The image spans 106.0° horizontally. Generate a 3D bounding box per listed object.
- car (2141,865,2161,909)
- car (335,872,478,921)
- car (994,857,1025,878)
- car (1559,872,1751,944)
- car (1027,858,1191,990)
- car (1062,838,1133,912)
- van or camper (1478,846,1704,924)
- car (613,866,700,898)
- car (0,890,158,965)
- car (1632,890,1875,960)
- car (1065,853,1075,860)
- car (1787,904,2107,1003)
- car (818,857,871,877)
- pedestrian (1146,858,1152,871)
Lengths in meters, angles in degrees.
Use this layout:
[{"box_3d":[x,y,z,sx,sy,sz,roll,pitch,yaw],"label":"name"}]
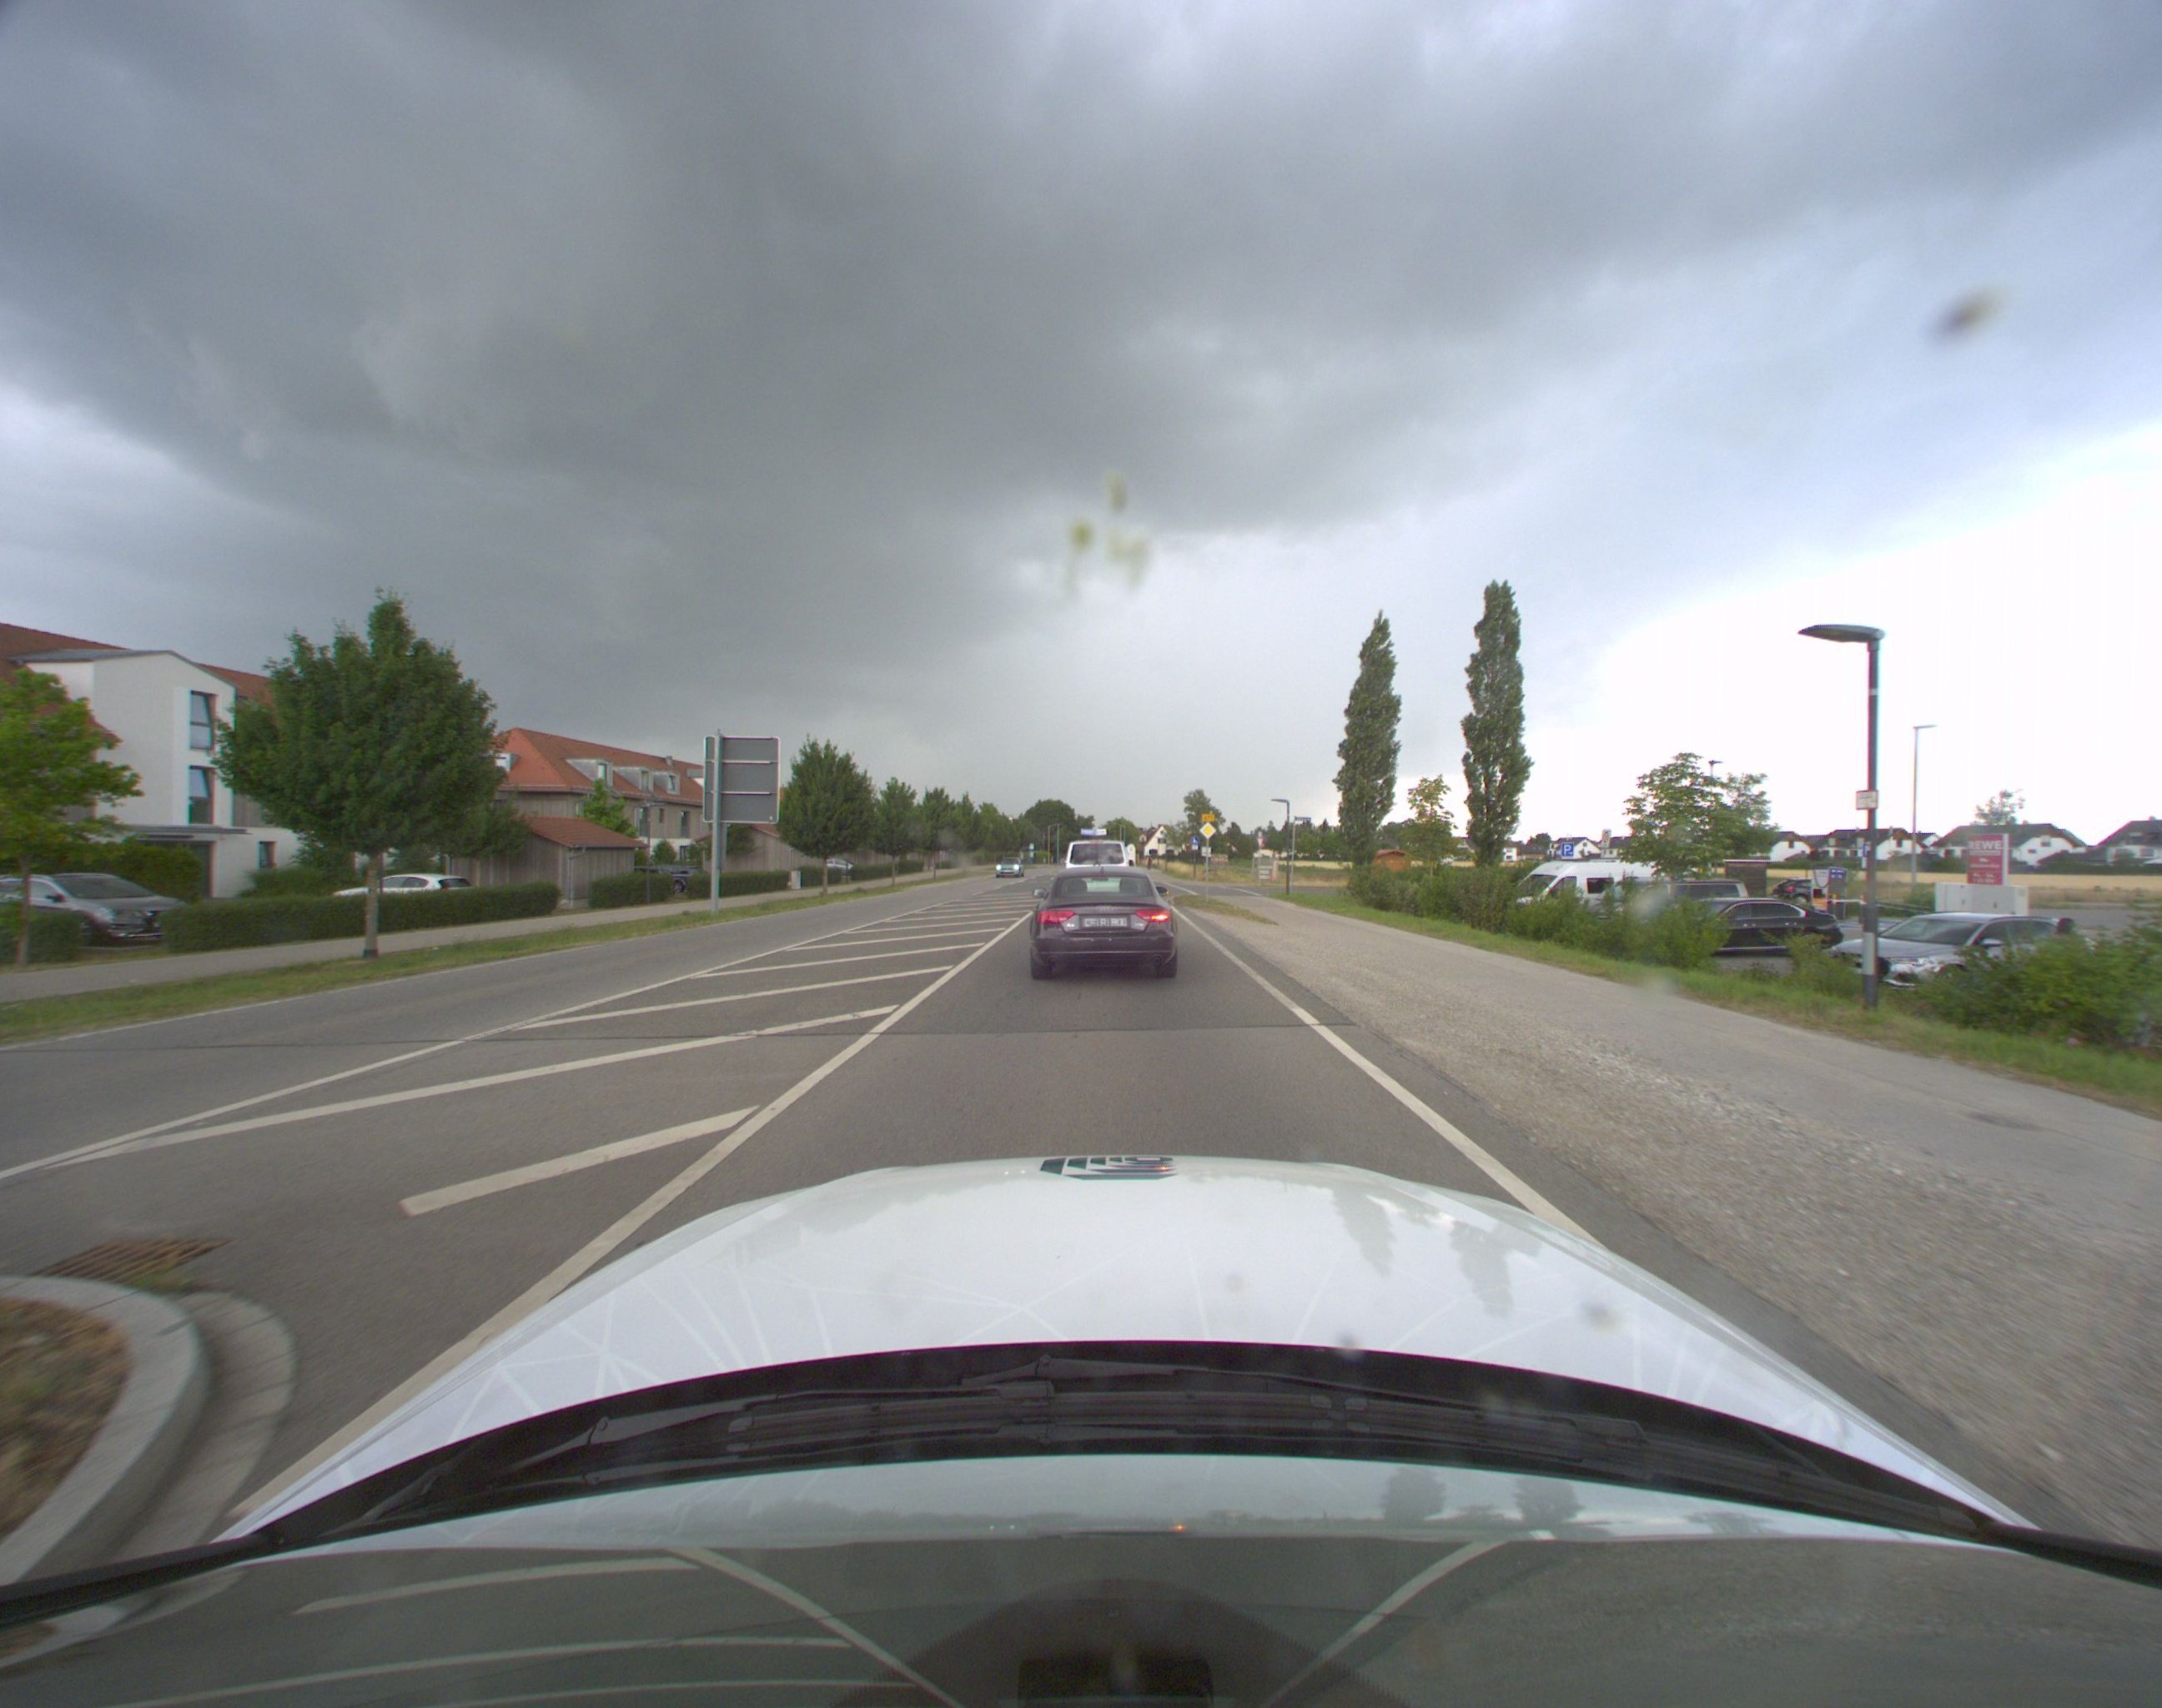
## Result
[{"box_3d":[50.770,1.536,36.261,1.986,2.013,4.002,-1,0,2],"label":"car"},{"box_3d":[-22.557,1.410,27.316,3.501,1.489,1.564,-1,0,1],"label":"car"},{"box_3d":[-5.192,0.961,59.563,1.763,1.443,4.002,-1,0,2],"label":"car"},{"box_3d":[17.709,1.640,25.287,4.579,2.013,2.000,-1,0,-1],"label":"car"},{"box_3d":[0.226,0.791,11.351,1.821,1.388,4.383,-1,0,-3],"label":"car"},{"box_3d":[0.443,0.563,23.592,1.820,1.913,4.000,2,0,0],"label":"car"},{"box_3d":[17.532,1.036,28.227,6.447,2.464,2.280,-1,0,-1],"label":"van or camper"},{"box_3d":[-21.210,1.402,40.791,3.501,1.489,1.564,-1,0,1],"label":"car"},{"box_3d":[-23.503,1.583,17.657,4.886,1.430,1.907,-1,0,2],"label":"car"},{"box_3d":[17.836,1.855,21.760,5.079,1.598,1.758,-1,0,-1],"label":"car"},{"box_3d":[-2.104,0.488,156.531,1.647,1.429,3.603,-1,0,1],"label":"car"},{"box_3d":[16.841,1.889,16.029,4.133,1.598,2.080,-1,0,-1],"label":"car"},{"box_3d":[-20.876,1.145,71.864,3.970,1.556,2.002,2,0,3],"label":"car"},{"box_3d":[7.989,1.259,95.661,0.621,1.525,0.680,-1,0,1],"label":"pedestrian"}]
